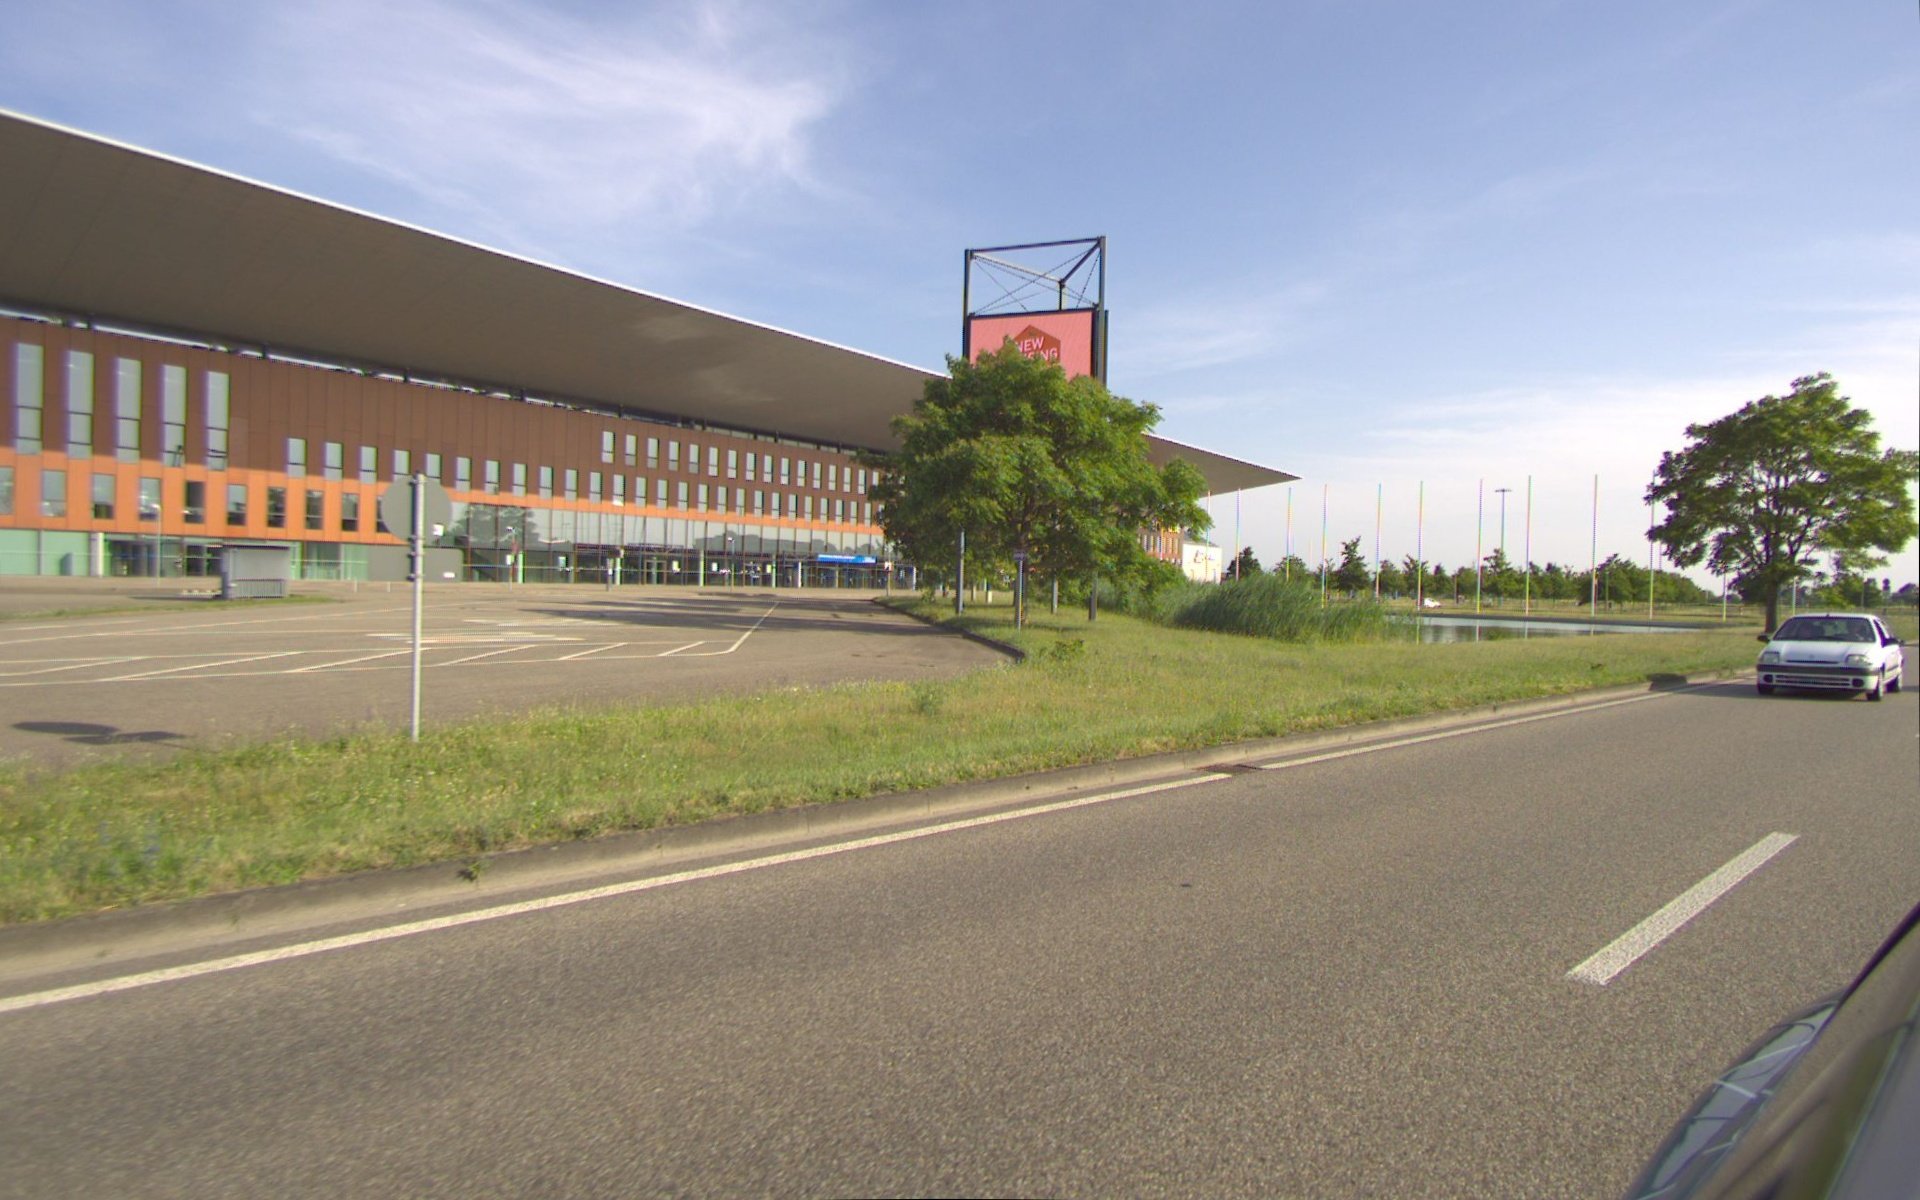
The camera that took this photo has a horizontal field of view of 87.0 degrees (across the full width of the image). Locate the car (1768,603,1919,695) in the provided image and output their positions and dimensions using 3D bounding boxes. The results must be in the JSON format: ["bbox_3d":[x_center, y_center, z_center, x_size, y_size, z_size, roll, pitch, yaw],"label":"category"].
[{"bbox_3d":[15.261,0.769,17.377,3.391,1.396,1.577,0,0,-41],"label":"car"}]

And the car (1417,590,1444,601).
[{"bbox_3d":[65.699,-0.615,141.363,3.493,1.473,1.714,1,0,-29],"label":"car"}]
